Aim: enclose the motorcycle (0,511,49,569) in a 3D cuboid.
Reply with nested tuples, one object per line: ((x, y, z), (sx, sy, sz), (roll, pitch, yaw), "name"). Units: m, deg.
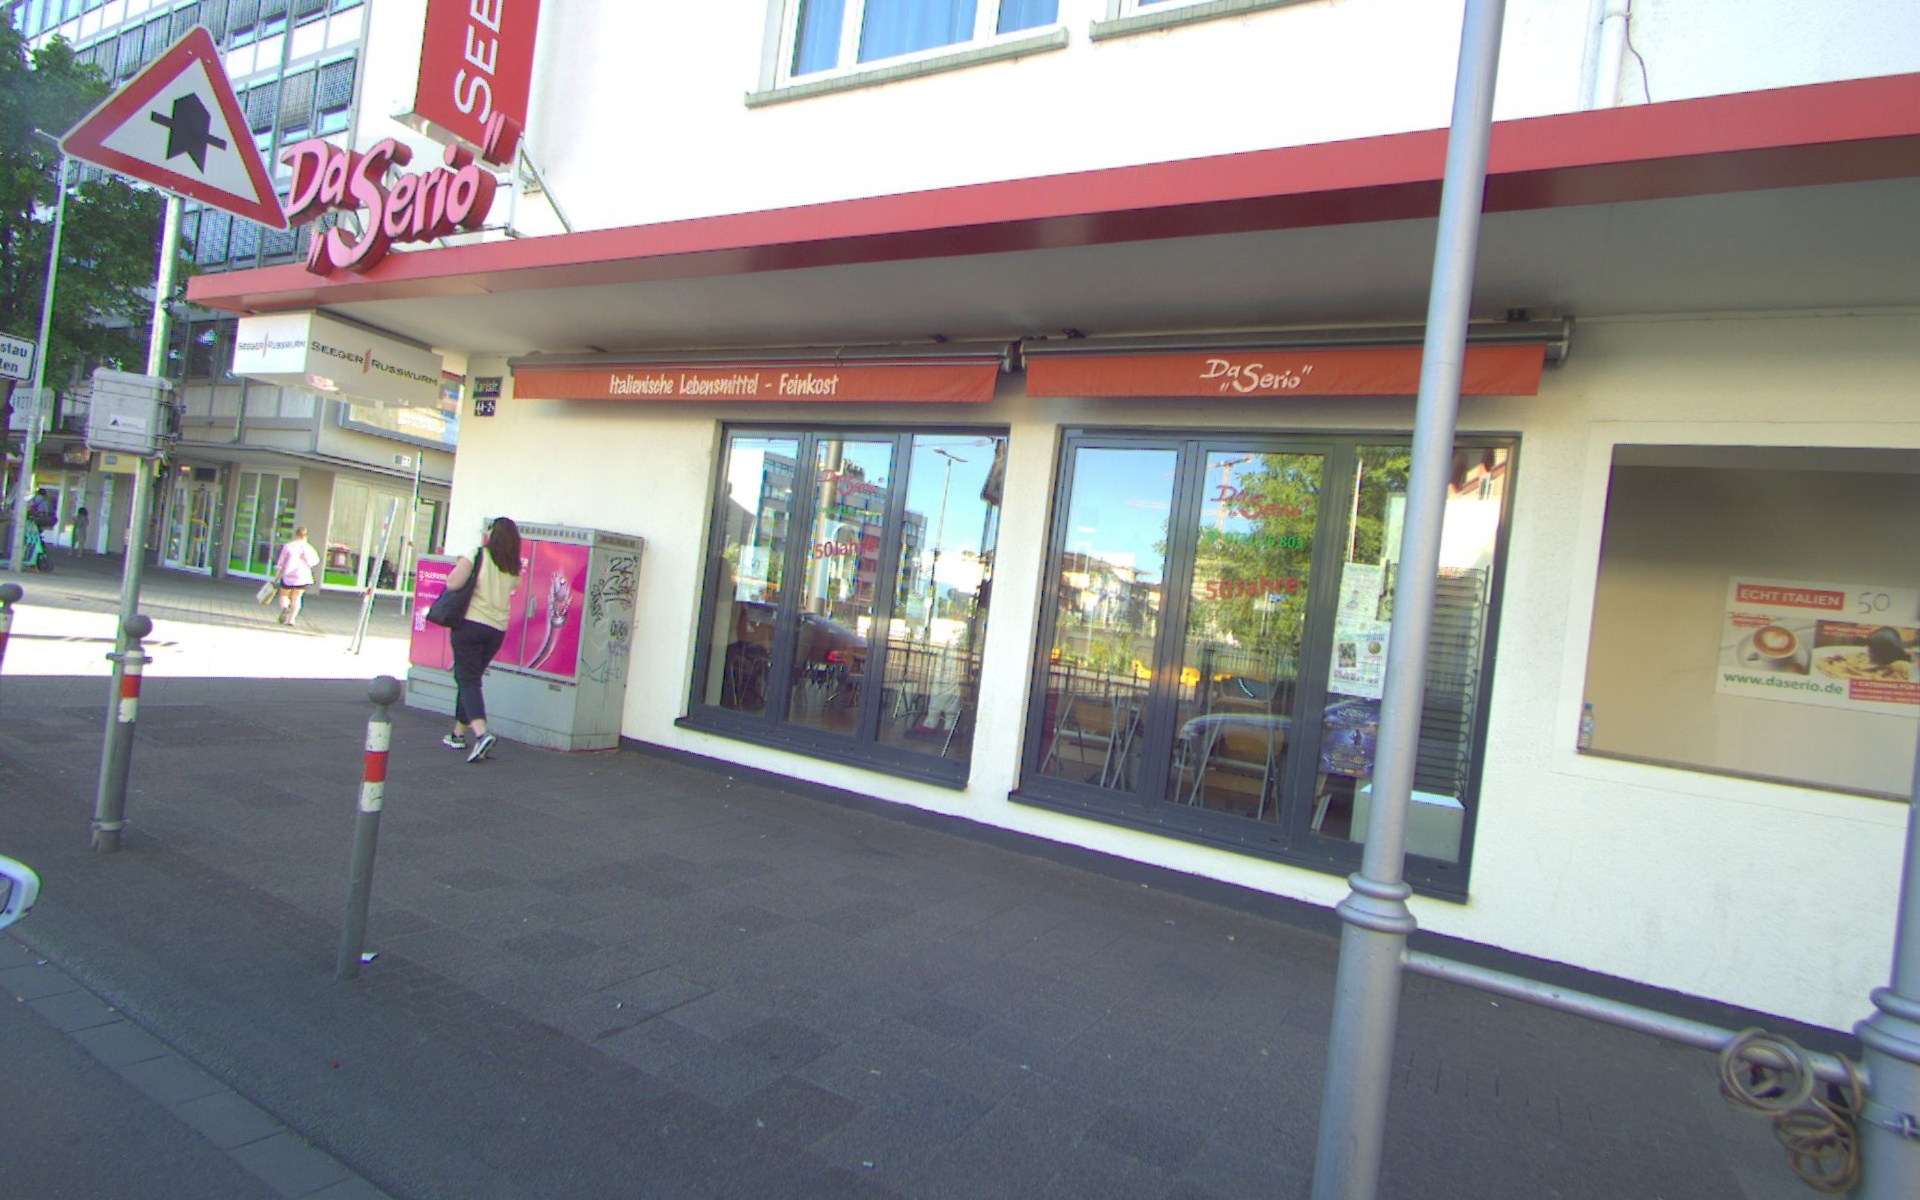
((-21.563, -1.409, 22.407), (0.532, 1.186, 1.711), (7, -2, 30), "motorcycle")

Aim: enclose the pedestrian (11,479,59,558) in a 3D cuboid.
((-25.215, -2.218, 27.434), (0.570, 2.037, 0.663), (6, -1, 34), "pedestrian")

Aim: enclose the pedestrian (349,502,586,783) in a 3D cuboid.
((-3.492, 0.288, 7.170), (1.020, 1.773, 0.916), (7, 0, 28), "pedestrian")

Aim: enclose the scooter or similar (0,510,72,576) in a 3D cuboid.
((-19.934, -1.231, 21.177), (1.628, 1.229, 0.640), (8, -1, -29), "scooter or similar")

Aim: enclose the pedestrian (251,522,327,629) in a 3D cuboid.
((-11.538, -0.422, 17.305), (0.884, 1.687, 0.801), (8, -1, -35), "pedestrian")

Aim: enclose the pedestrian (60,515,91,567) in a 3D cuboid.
((-24.539, -1.629, 27.908), (0.504, 1.359, 0.390), (6, -1, 34), "pedestrian")
